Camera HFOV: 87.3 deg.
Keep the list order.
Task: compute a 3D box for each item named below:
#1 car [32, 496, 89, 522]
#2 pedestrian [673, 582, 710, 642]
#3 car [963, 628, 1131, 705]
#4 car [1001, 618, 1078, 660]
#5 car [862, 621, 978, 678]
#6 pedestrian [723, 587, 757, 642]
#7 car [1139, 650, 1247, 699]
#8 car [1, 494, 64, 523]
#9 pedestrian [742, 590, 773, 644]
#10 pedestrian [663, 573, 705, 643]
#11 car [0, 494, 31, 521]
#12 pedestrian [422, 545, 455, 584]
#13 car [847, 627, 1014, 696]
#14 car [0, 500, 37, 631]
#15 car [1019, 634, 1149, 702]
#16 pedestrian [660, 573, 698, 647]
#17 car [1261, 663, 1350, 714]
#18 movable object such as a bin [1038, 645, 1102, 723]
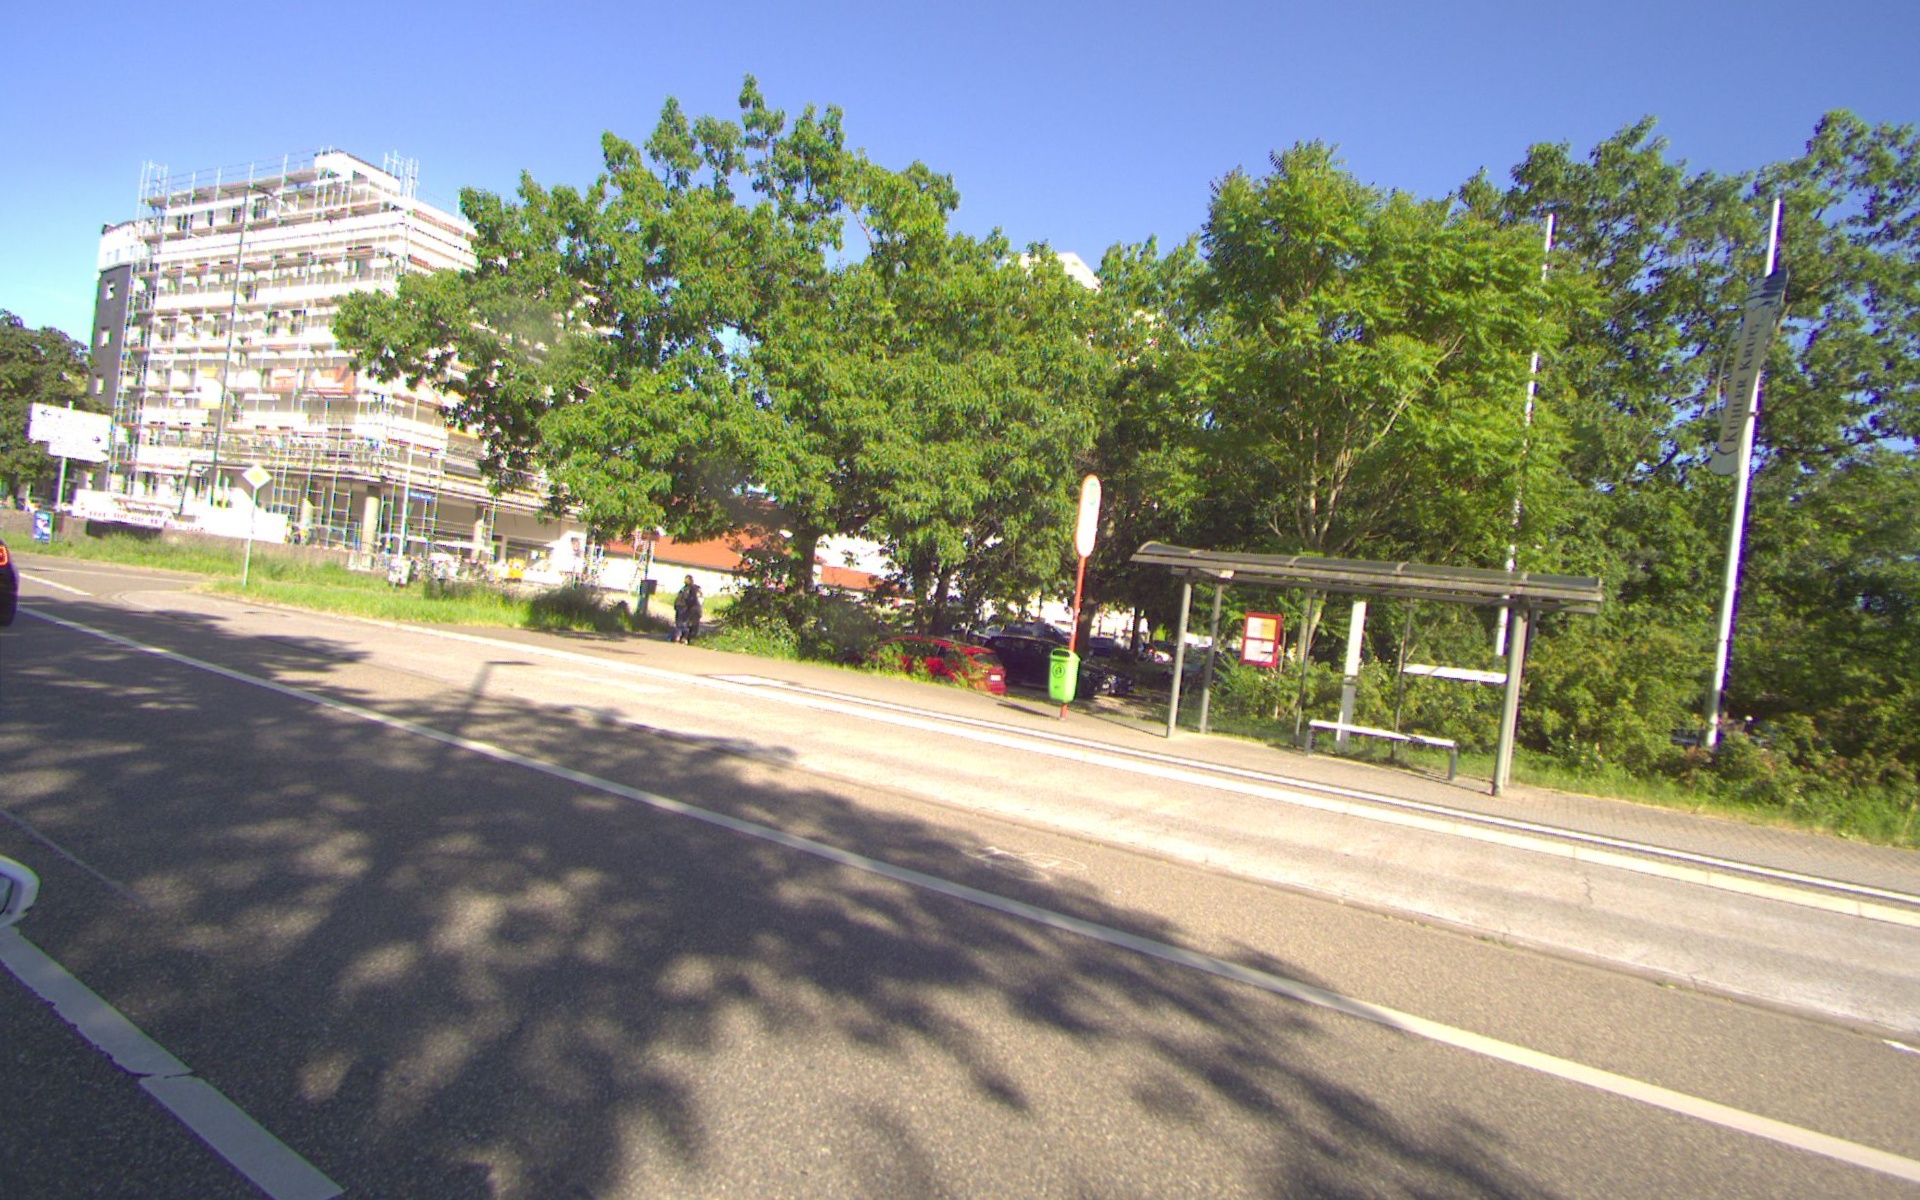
[{"bbox_3d":[-78.347,-7.934,87.636,3.925,1.613,1.911,7,0,18],"label":"car"},{"bbox_3d":[-7.296,0.324,27.324,0.604,1.537,0.528,7,0,34],"label":"pedestrian"},{"bbox_3d":[2.731,2.088,32.045,4.811,1.555,1.997,9,-1,34],"label":"car"},{"bbox_3d":[5.066,2.513,64.454,4.282,2.098,1.995,7,-1,34],"label":"car"},{"bbox_3d":[-1.570,1.896,38.759,3.938,1.625,1.996,5,-3,35],"label":"car"},{"bbox_3d":[-6.906,0.462,31.609,0.557,1.638,0.705,6,-1,26],"label":"pedestrian"},{"bbox_3d":[9.924,3.178,43.083,1.989,1.573,3.951,9,-3,-44],"label":"car"},{"bbox_3d":[-60.974,-5.982,66.194,1.802,1.526,3.976,7,0,-25],"label":"car"},{"bbox_3d":[-6.523,0.549,32.416,0.557,1.638,0.599,6,-1,26],"label":"pedestrian"},{"bbox_3d":[-6.903,0.209,25.169,0.542,1.654,0.622,7,0,32],"label":"pedestrian"},{"bbox_3d":[-58.947,-5.785,61.724,1.759,1.460,3.595,8,-1,-26],"label":"car"},{"bbox_3d":[-21.800,-1.474,42.071,0.892,1.515,0.651,7,0,23],"label":"pedestrian"},{"bbox_3d":[-0.748,1.498,24.691,3.846,1.168,1.399,7,-1,30],"label":"car"},{"bbox_3d":[-13.087,-0.621,12.257,3.502,1.521,1.677,7,0,31],"label":"car"},{"bbox_3d":[4.281,2.339,34.927,3.938,1.835,1.846,5,-2,35],"label":"car"},{"bbox_3d":[-6.825,0.249,24.436,0.403,1.721,0.603,7,0,31],"label":"pedestrian"},{"bbox_3d":[15.018,3.822,43.961,1.965,1.621,3.994,8,0,-7],"label":"car"},{"bbox_3d":[1.607,1.226,14.718,0.568,1.042,0.727,7,0,31],"label":"movable object such as a bin"}]
